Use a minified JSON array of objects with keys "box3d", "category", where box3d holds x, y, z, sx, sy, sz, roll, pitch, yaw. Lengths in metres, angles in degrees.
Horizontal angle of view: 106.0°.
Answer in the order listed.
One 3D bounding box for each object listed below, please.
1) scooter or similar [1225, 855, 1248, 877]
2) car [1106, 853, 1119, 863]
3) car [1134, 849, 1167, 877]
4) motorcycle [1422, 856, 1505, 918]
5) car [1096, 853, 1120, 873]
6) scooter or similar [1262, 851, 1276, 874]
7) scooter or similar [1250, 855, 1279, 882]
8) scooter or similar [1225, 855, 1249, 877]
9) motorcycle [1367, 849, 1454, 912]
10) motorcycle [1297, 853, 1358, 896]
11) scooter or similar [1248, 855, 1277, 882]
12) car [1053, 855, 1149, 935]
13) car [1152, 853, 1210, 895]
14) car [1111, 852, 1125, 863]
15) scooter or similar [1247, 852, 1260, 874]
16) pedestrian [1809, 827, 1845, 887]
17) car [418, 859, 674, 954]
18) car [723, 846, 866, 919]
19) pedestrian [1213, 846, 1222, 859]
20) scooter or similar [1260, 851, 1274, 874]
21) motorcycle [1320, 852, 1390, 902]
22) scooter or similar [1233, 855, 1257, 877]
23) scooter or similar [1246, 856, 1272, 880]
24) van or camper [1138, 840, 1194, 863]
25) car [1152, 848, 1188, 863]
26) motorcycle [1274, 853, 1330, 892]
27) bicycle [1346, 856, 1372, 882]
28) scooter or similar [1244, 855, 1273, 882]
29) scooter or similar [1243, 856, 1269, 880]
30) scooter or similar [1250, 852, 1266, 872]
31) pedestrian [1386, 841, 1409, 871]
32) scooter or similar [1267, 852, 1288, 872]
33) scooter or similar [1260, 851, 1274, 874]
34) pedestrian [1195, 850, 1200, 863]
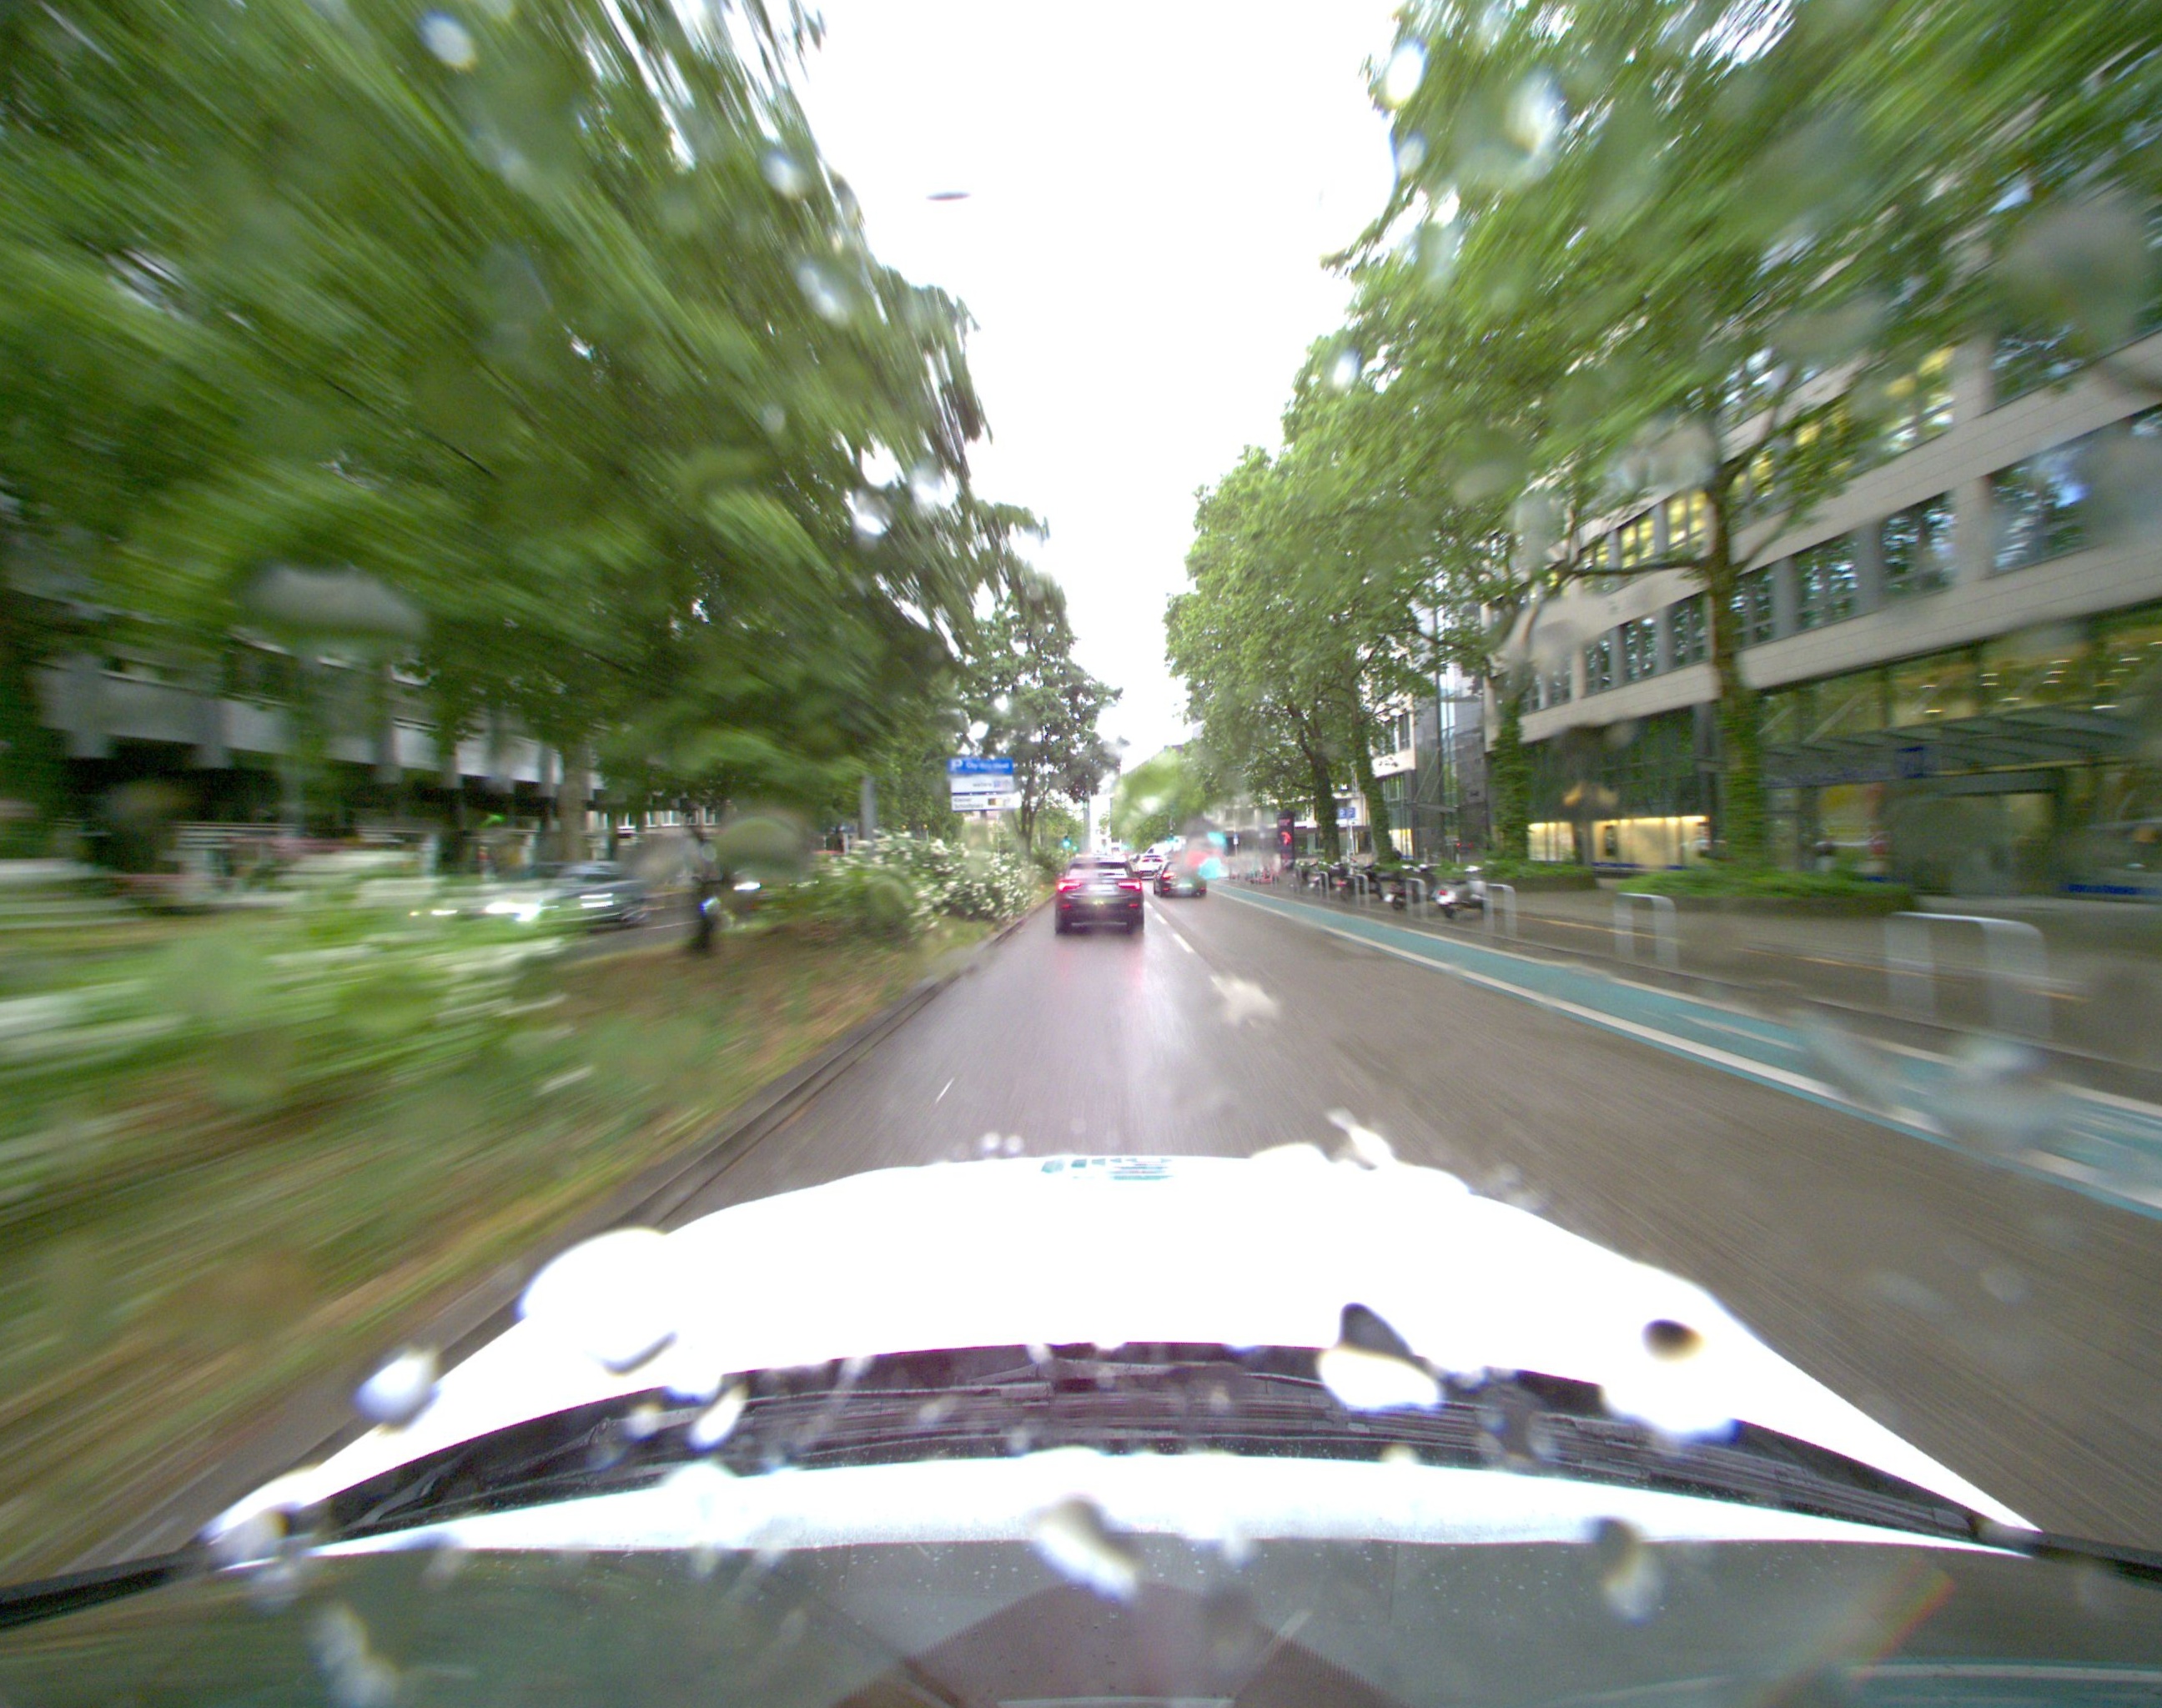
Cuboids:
[{"box3d":[9.366,0.720,49.012,1.280,1.259,0.491,-3,1,13],"category":"scooter or similar"},{"box3d":[4.892,0.601,126.597,1.843,1.523,4.040,-1,0,1],"category":"car"},{"box3d":[4.402,0.572,52.254,1.843,1.669,4.040,-1,0,1],"category":"car"},{"box3d":[8.626,0.723,18.337,2.069,1.212,0.677,-4,0,-34],"category":"motorcycle"},{"box3d":[2.183,0.697,66.471,1.843,1.523,4.040,-1,0,1],"category":"car"},{"box3d":[10.916,0.481,47.301,0.486,1.259,1.294,-3,1,2],"category":"scooter or similar"},{"box3d":[9.218,0.738,40.929,1.283,1.278,0.538,-3,1,5],"category":"scooter or similar"},{"box3d":[9.274,0.714,48.402,1.280,1.259,0.491,-3,1,13],"category":"scooter or similar"},{"box3d":[8.353,0.640,20.647,2.061,1.428,0.724,-4,1,-20],"category":"motorcycle"},{"box3d":[8.610,0.700,28.473,1.962,1.373,0.724,-4,1,-20],"category":"motorcycle"},{"box3d":[9.214,0.744,41.373,1.283,1.278,0.538,-3,1,5],"category":"scooter or similar"},{"box3d":[0.416,0.803,17.870,1.843,1.523,4.039,-1,0,1],"category":"car"},{"box3d":[3.821,0.734,31.760,1.843,1.523,4.040,-1,0,1],"category":"car"},{"box3d":[5.033,0.464,111.130,1.843,1.523,4.040,-1,0,1],"category":"car"},{"box3d":[10.392,0.509,49.015,0.486,1.259,1.294,-3,1,2],"category":"scooter or similar"},{"box3d":[21.555,0.077,23.528,0.720,1.693,0.833,-2,0,44],"category":"pedestrian"},{"box3d":[-9.886,0.872,15.572,1.721,1.428,4.499,-4,0,2],"category":"car"},{"box3d":[-6.610,0.614,19.314,1.721,1.428,4.191,-4,0,2],"category":"car"},{"box3d":[17.184,-0.197,102.340,0.803,1.696,1.186,-1,0,-3],"category":"pedestrian"},{"box3d":[10.505,0.472,46.076,0.486,1.259,1.294,-3,1,2],"category":"scooter or similar"},{"box3d":[8.433,0.692,25.042,1.962,1.373,0.724,-4,1,-20],"category":"motorcycle"},{"box3d":[9.633,0.702,47.863,1.280,1.259,0.491,-3,1,13],"category":"scooter or similar"},{"box3d":[9.639,0.772,44.190,1.284,1.235,0.490,-3,1,3],"category":"scooter or similar"},{"box3d":[9.887,-0.292,95.087,6.008,2.558,2.117,-2,0,28],"category":"van or camper"},{"box3d":[9.712,0.181,88.925,3.618,1.547,1.723,-1,0,20],"category":"car"},{"box3d":[8.607,0.694,31.763,1.959,1.373,0.725,-3,1,-15],"category":"motorcycle"},{"box3d":[11.250,0.593,32.888,0.631,1.028,1.774,-2,0,30],"category":"bicycle"},{"box3d":[9.159,0.753,42.059,1.289,1.278,0.535,-3,1,-10],"category":"scooter or similar"},{"box3d":[9.656,0.781,44.935,1.284,1.235,0.490,-3,1,3],"category":"scooter or similar"},{"box3d":[10.818,0.513,49.864,0.487,1.198,1.290,-1,-1,-8],"category":"scooter or similar"},{"box3d":[19.776,0.124,50.841,0.914,1.850,1.277,-1,-1,0],"category":"pedestrian"},{"box3d":[11.978,0.494,49.622,0.490,1.198,1.281,-1,-1,-29],"category":"scooter or similar"},{"box3d":[10.505,0.472,46.076,0.486,1.259,1.294,-3,1,2],"category":"scooter or similar"},{"box3d":[16.240,0.384,113.505,0.551,1.805,0.761,-1,-1,-2],"category":"pedestrian"}]
